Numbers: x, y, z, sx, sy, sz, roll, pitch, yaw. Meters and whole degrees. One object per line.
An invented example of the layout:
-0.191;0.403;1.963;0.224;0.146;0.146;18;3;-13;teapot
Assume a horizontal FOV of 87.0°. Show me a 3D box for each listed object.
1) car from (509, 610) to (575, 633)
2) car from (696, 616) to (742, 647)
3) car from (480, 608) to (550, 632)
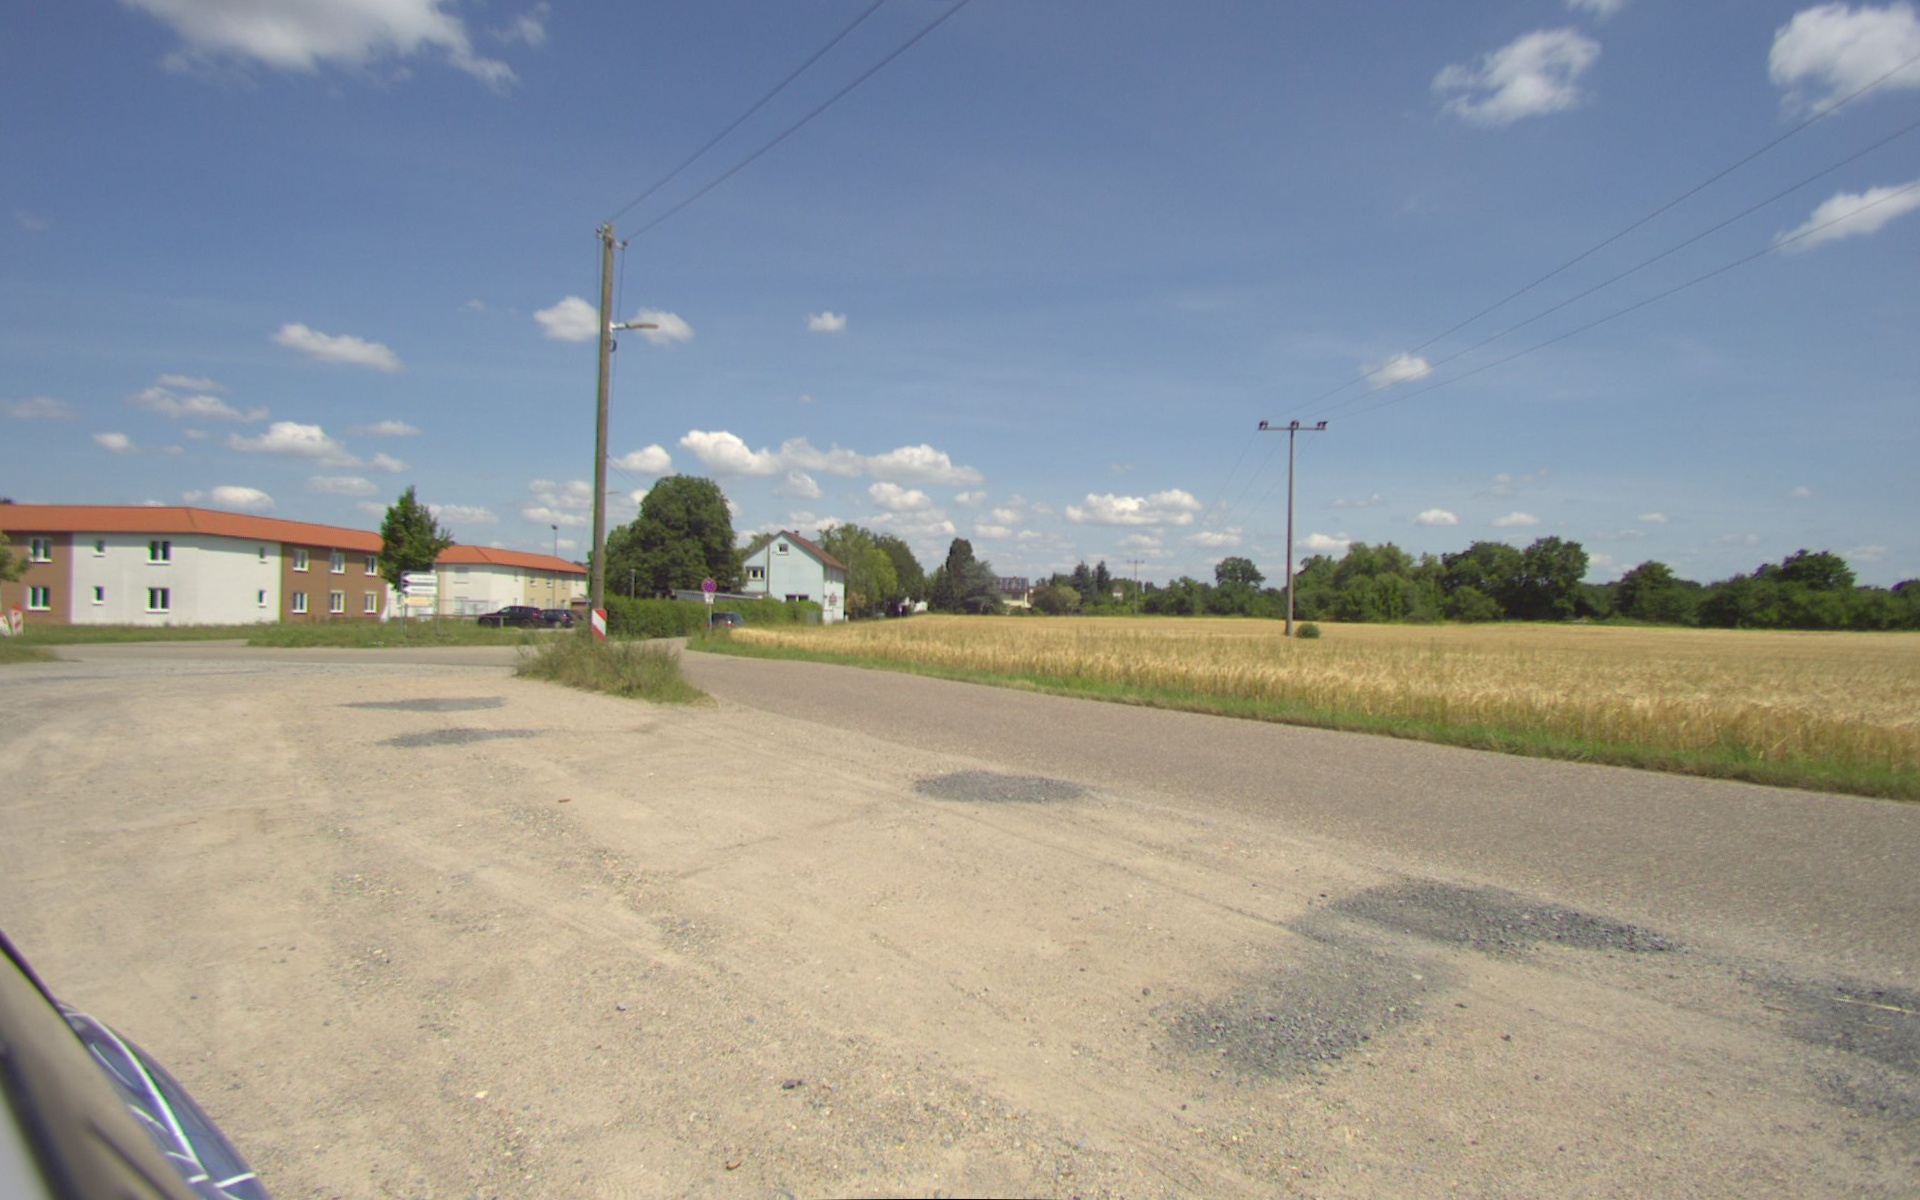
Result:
-31.438;1.647;76.176;4.090;1.627;2.000;1;-1;0;car
-13.938;1.778;58.738;1.725;1.692;4.255;0;0;0;car
-31.748;1.435;72.252;4.090;1.627;2.000;1;-1;0;car
